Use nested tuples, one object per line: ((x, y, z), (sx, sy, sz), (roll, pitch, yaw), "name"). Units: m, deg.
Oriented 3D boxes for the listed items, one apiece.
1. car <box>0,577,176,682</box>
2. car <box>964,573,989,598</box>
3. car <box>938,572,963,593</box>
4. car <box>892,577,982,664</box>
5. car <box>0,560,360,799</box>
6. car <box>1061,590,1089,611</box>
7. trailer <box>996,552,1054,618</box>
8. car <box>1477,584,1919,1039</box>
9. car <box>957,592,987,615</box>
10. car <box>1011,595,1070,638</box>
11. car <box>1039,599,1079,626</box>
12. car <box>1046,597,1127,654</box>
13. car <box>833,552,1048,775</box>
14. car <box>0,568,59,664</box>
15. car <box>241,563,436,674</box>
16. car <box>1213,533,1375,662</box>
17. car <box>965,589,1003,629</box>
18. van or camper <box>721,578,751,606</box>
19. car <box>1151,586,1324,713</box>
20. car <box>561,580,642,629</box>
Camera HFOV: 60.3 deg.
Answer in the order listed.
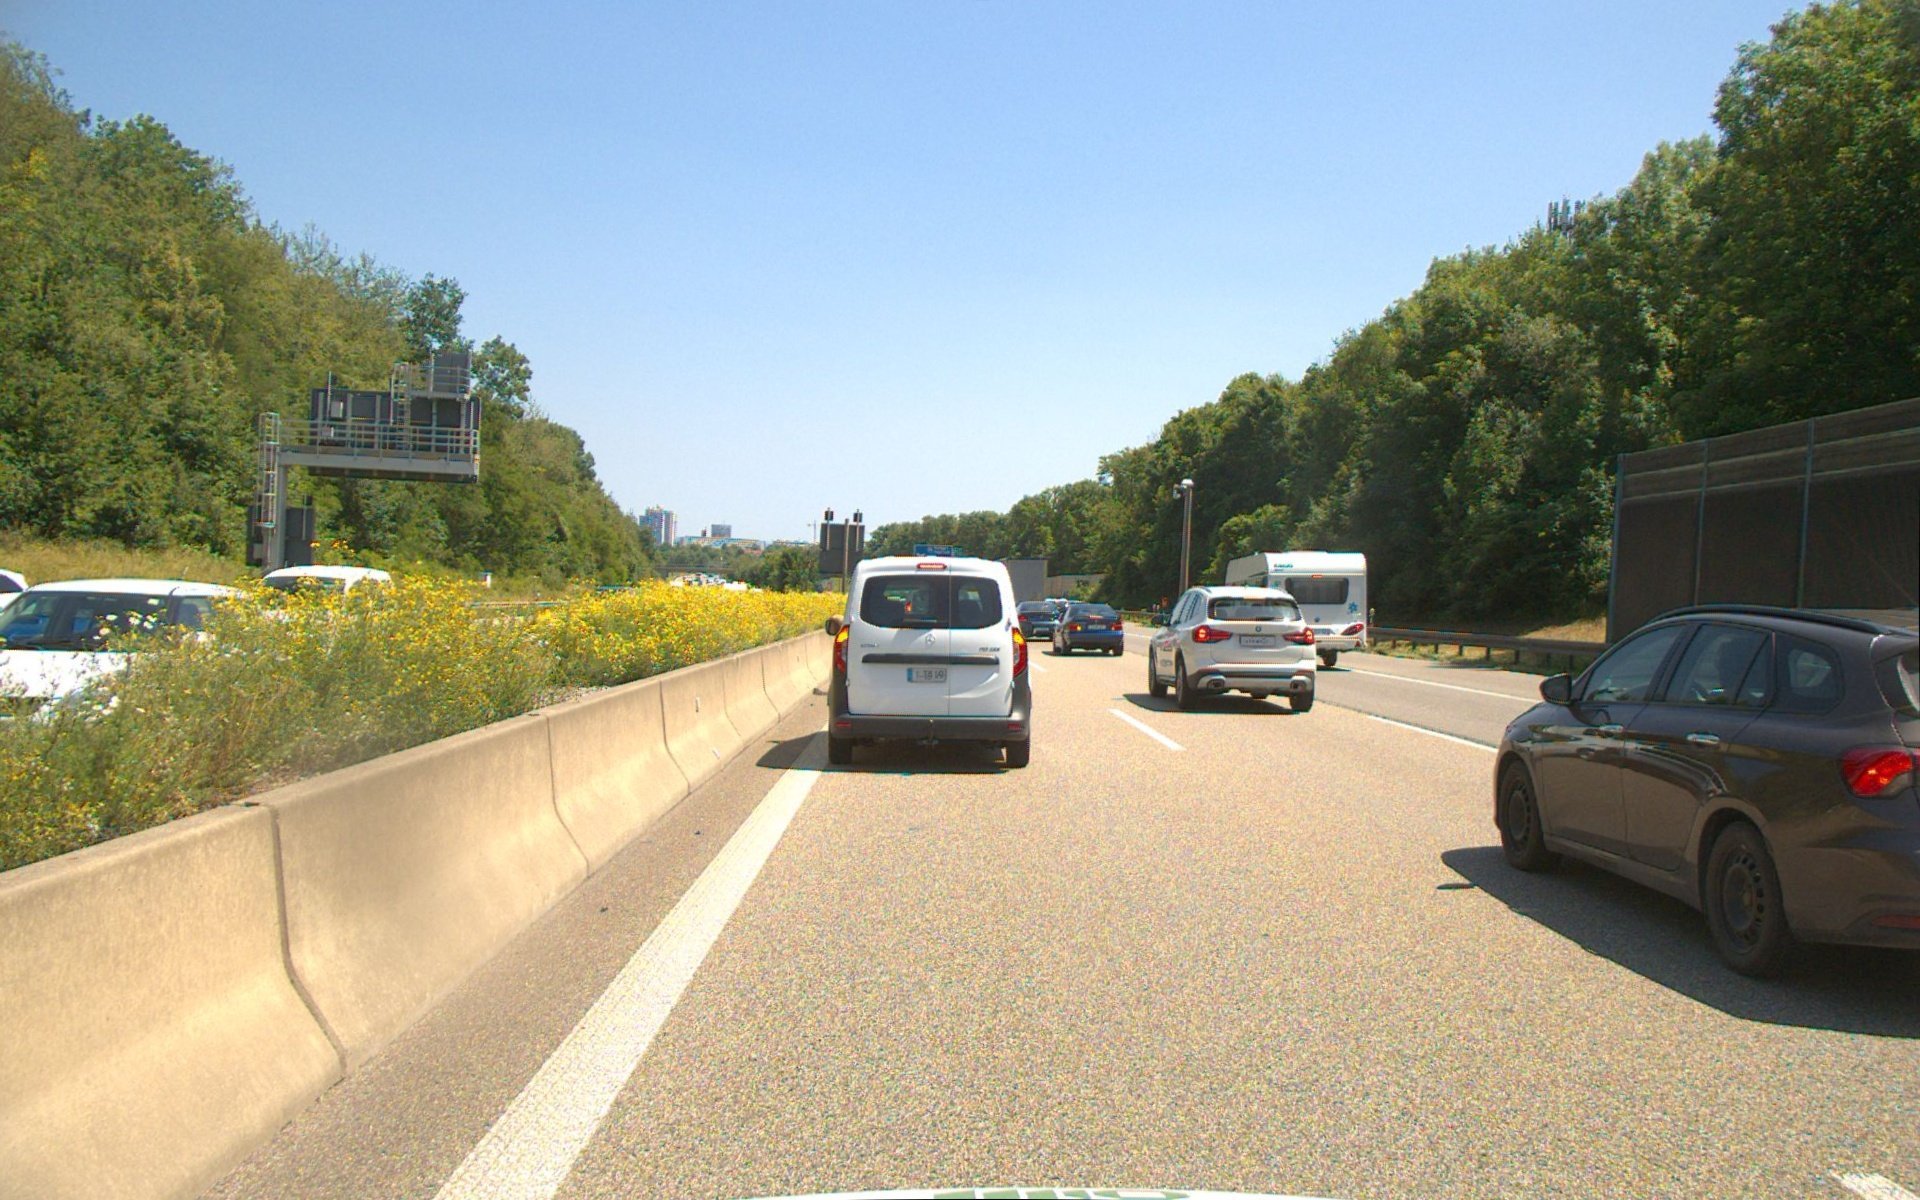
((-14.229, 0.405, 25.977), (1.953, 1.517, 3.999), (1, 0, -1), "car")
((1.396, -1.220, 142.072), (1.953, 2.049, 3.999), (1, 0, -2), "car")
((-0.926, -1.676, 158.745), (1.955, 2.049, 3.995), (1, 0, -5), "car")
((-0.565, 0.444, 38.495), (1.953, 1.892, 3.999), (1, 0, -2), "car")
((-6.473, 0.492, 12.951), (1.899, 1.529, 4.658), (1, 0, -1), "car")
((8.868, 0.046, 127.893), (1.752, 1.545, 3.999), (1, 0, -1), "car")
((4.183, -0.947, 108.349), (3.020, 4.055, 10.319), (1, 0, -2), "trailer")
((4.089, 0.716, 7.858), (1.801, 1.539, 4.401), (1, 1, -1), "car")
((0.744, 0.212, 105.675), (1.787, 1.472, 3.999), (1, 0, -2), "car")
((2.853, 0.576, 59.375), (1.787, 1.449, 3.999), (1, 0, -2), "car")
((5.343, 0.667, 89.896), (1.787, 1.449, 3.999), (1, 0, -2), "car")
((3.416, 0.668, 45.249), (1.787, 1.449, 3.999), (1, 0, -2), "car")
((-0.208, 0.501, 15.720), (1.766, 1.839, 3.999), (0, 1, -1), "car")
((-18.186, 0.277, 29.243), (1.953, 1.721, 4.766), (1, 0, -1), "car")
((-10.810, 0.297, 29.091), (1.846, 1.786, 4.276), (1, 0, -1), "car")
((7.817, -0.057, 39.468), (2.429, 2.814, 6.217), (1, 0, -2), "car")
((1.220, 0.459, 86.114), (1.787, 2.024, 3.999), (1, 0, -2), "car")
((-22.029, -0.799, 162.923), (2.262, 2.682, 7.395), (1, 0, -3), "van or camper")
((3.904, 0.638, 23.855), (1.833, 1.636, 3.879), (1, 1, 0), "car")
((-12.355, 0.133, 57.229), (1.953, 1.600, 4.064), (1, 0, -1), "car")
